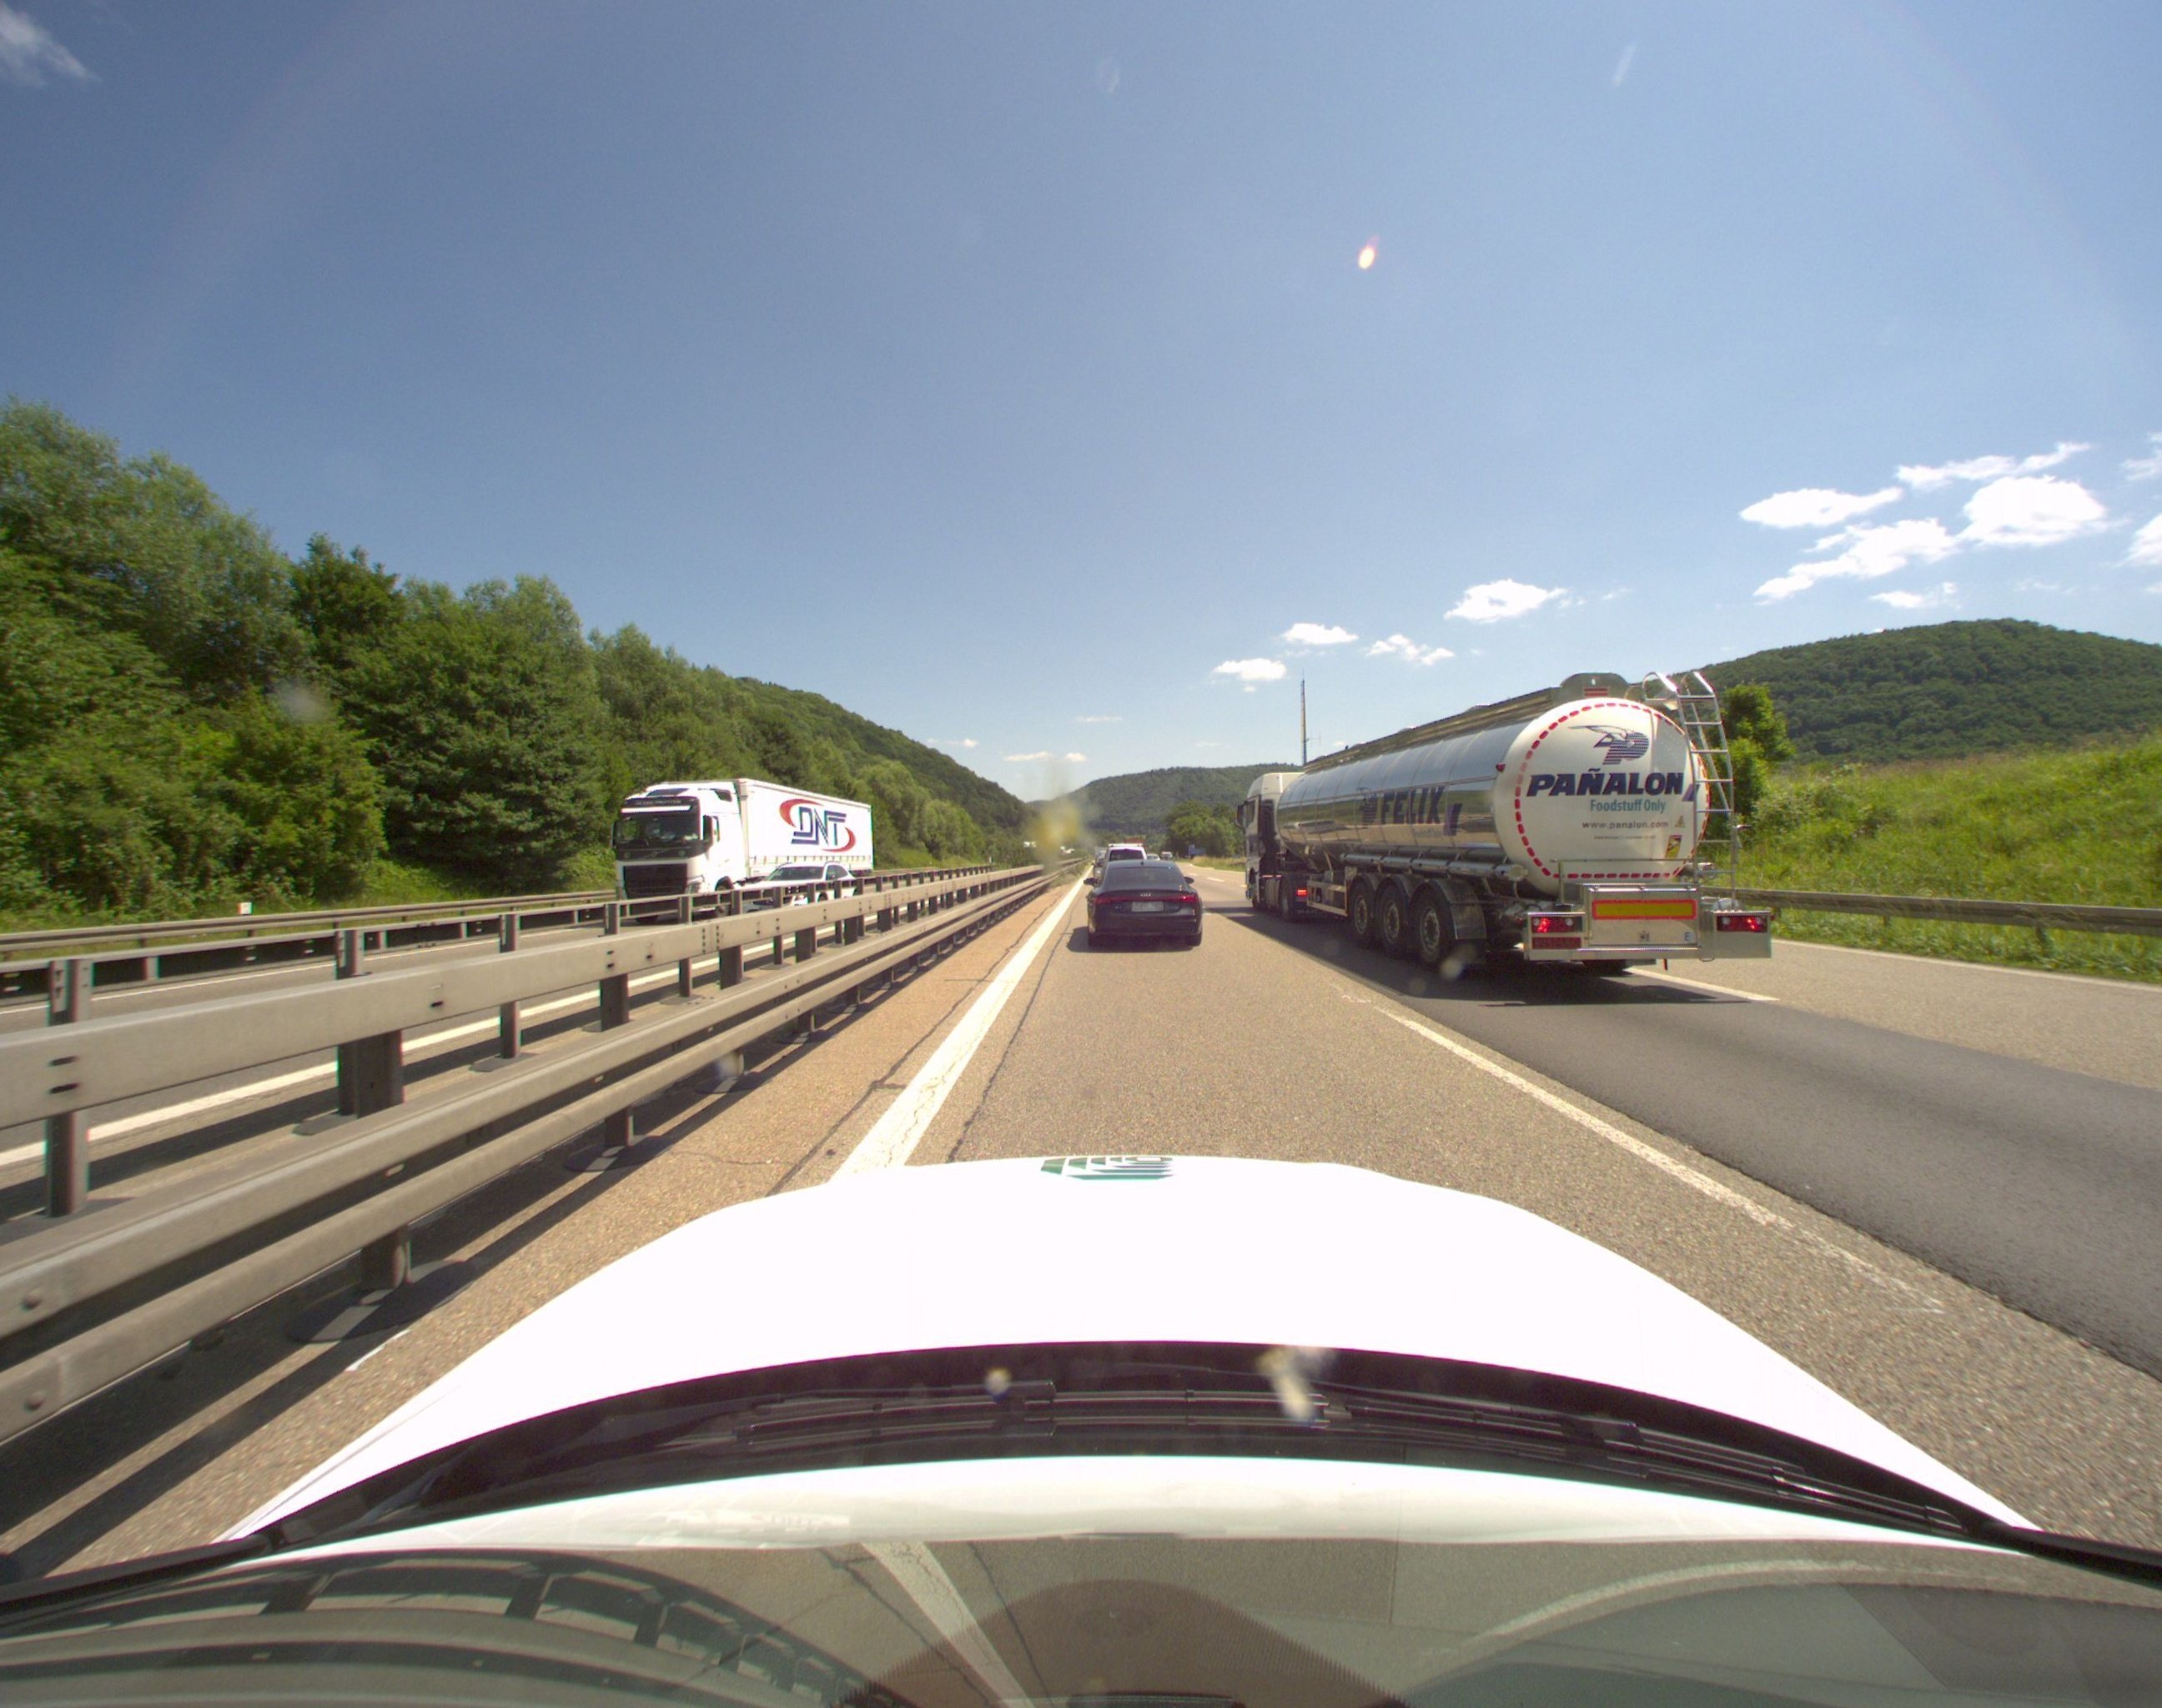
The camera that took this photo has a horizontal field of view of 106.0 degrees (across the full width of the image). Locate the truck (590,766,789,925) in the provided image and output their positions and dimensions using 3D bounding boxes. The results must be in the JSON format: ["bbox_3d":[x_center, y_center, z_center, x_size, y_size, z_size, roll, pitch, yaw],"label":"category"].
[{"bbox_3d":[-11.217,-0.213,24.082,2.898,4.102,5.850,-1,0,1],"label":"truck"}]

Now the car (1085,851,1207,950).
[{"bbox_3d":[1.041,0.714,14.550,1.843,1.488,4.084,-1,0,1],"label":"car"}]

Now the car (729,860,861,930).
[{"bbox_3d":[-6.899,0.924,20.118,1.740,1.518,4.001,-1,0,1],"label":"car"}]

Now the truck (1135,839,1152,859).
[{"bbox_3d":[12.692,-0.970,165.371,2.806,4.003,14.963,-1,0,2],"label":"truck"}]

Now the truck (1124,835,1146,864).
[{"bbox_3d":[7.986,-0.675,122.498,2.806,4.003,14.963,-1,0,2],"label":"truck"}]

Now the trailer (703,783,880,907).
[{"bbox_3d":[-11.024,-0.291,32.711,2.846,4.076,11.265,-1,0,1],"label":"trailer"}]

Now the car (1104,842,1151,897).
[{"bbox_3d":[1.631,0.535,29.795,1.570,1.833,4.001,-1,0,1],"label":"car"}]

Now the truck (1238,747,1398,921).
[{"bbox_3d":[5.664,-0.428,20.358,2.503,3.758,5.246,-1,0,1],"label":"truck"}]

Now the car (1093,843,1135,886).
[{"bbox_3d":[1.619,0.497,40.521,1.986,2.013,4.001,-1,0,1],"label":"car"}]

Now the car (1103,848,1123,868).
[{"bbox_3d":[3.244,0.398,83.165,1.986,2.013,4.001,-2,0,1],"label":"car"}]

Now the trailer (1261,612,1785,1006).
[{"bbox_3d":[5.541,-0.430,13.738,2.529,3.735,11.893,-1,0,1],"label":"trailer"}]

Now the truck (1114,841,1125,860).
[{"bbox_3d":[7.304,-0.661,155.466,1.986,3.447,11.815,-1,0,2],"label":"truck"}]

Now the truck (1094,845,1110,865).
[{"bbox_3d":[3.821,0.202,147.633,2.618,3.440,11.426,-2,0,2],"label":"truck"}]

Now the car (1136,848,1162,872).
[{"bbox_3d":[5.814,0.490,69.901,1.986,2.013,4.001,-1,0,1],"label":"car"}]

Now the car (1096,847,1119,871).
[{"bbox_3d":[2.349,0.423,72.508,1.986,2.013,4.001,-2,0,1],"label":"car"}]

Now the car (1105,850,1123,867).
[{"bbox_3d":[3.214,0.446,79.634,1.705,1.618,4.003,-2,0,3],"label":"car"}]

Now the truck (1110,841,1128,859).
[{"bbox_3d":[9.829,-1.041,210.820,3.775,4.414,14.977,-2,0,5],"label":"truck"}]
